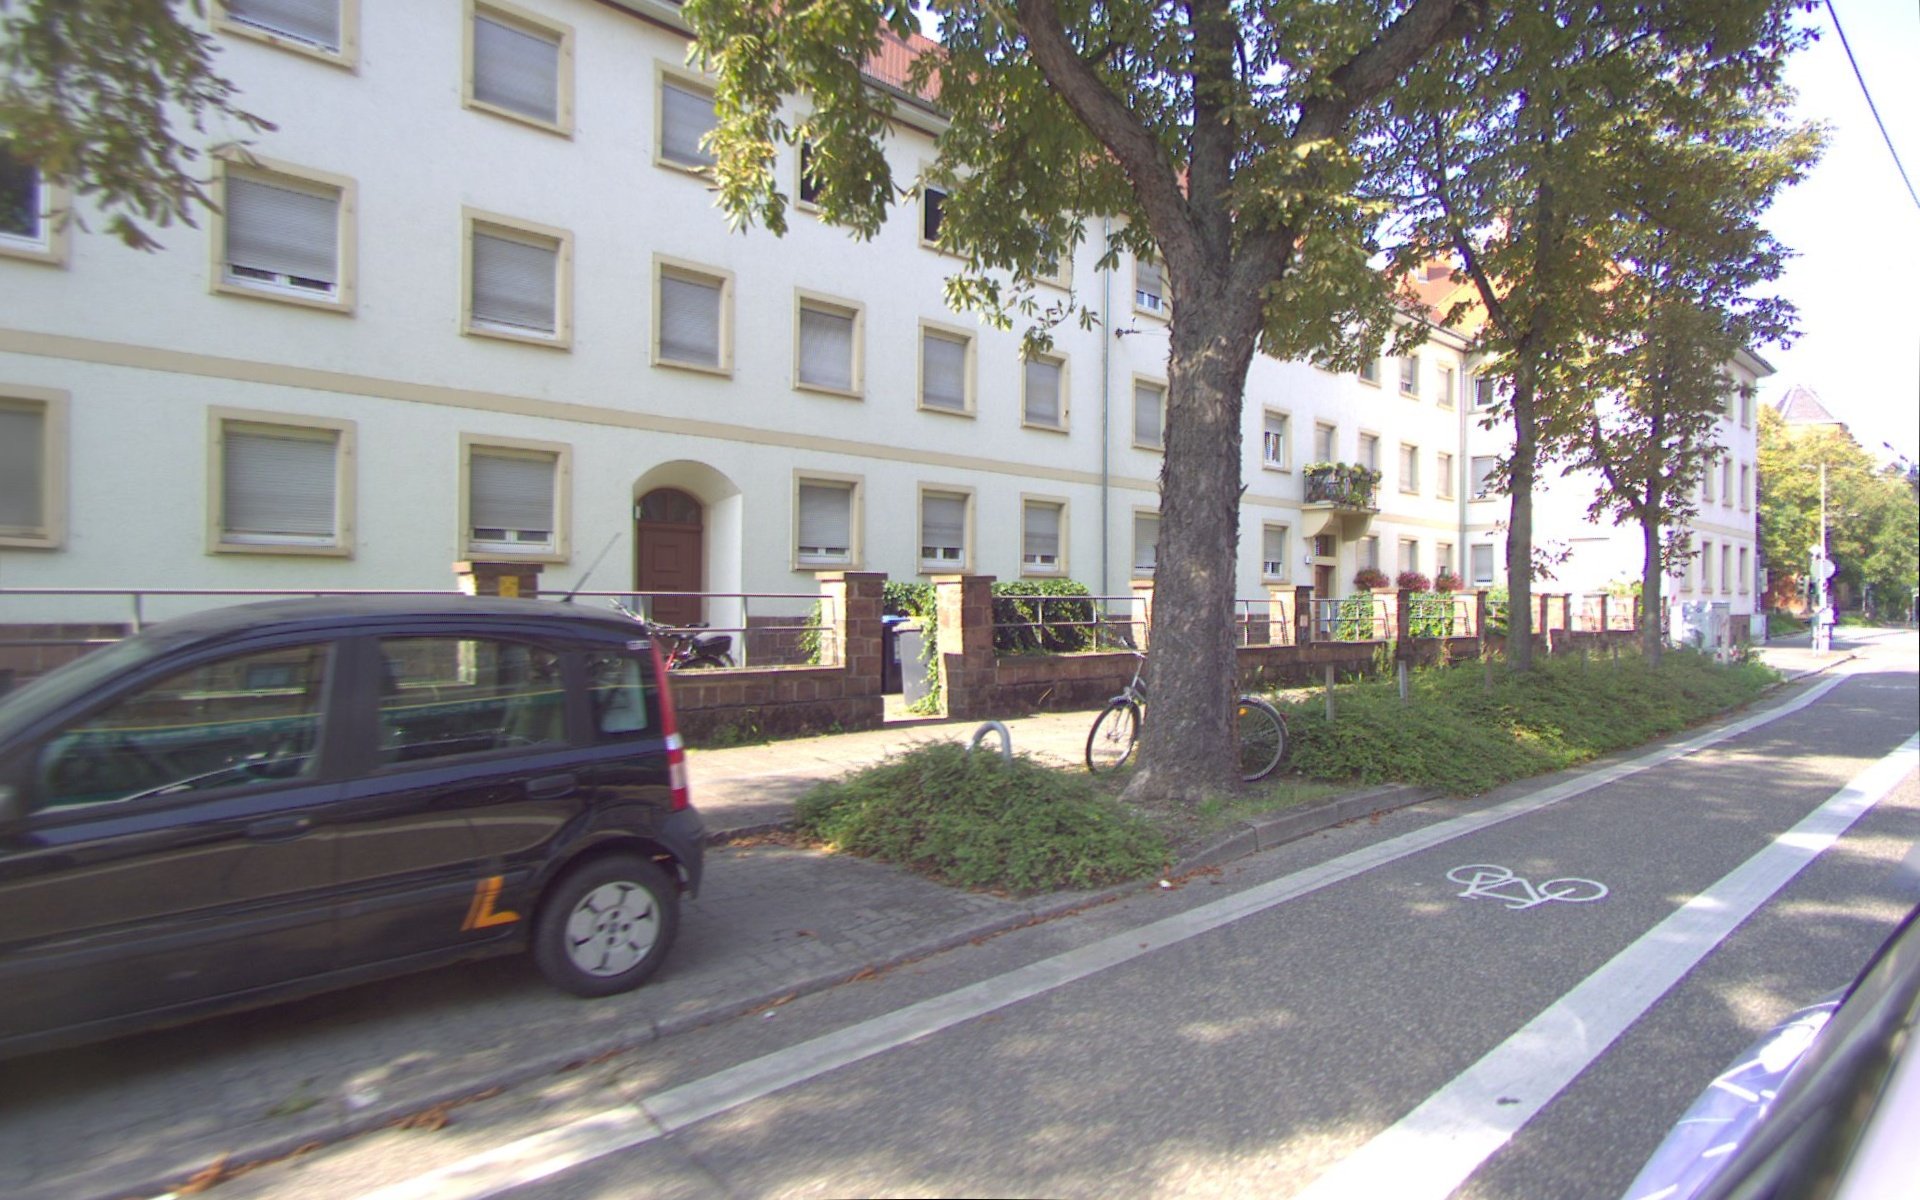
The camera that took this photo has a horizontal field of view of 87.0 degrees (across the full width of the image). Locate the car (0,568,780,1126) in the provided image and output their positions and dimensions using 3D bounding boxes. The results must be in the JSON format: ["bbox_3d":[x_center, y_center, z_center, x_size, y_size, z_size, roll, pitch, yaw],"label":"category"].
[{"bbox_3d":[-2.772,0.683,3.834,3.769,1.559,1.651,0,2,-36],"label":"car"}]

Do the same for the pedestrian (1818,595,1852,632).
[{"bbox_3d":[43.012,0.664,49.739,0.953,1.746,1.079,1,2,-42],"label":"pedestrian"}]

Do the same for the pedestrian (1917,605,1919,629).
[{"bbox_3d":[69.121,1.216,72.565,0.647,1.740,0.545,1,-1,-25],"label":"pedestrian"}]

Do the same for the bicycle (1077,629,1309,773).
[{"bbox_3d":[1.806,0.778,7.985,1.696,1.087,0.525,0,-1,1],"label":"bicycle"}]

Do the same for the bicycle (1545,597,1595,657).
[{"bbox_3d":[15.518,0.669,25.740,1.707,1.474,0.455,0,-1,-37],"label":"bicycle"}]

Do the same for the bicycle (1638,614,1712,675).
[{"bbox_3d":[14.126,0.839,19.965,2.294,1.118,0.772,0,0,-44],"label":"bicycle"}]

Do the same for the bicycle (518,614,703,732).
[{"bbox_3d":[-3.516,0.700,10.272,1.698,1.087,0.524,0,-1,-40],"label":"bicycle"}]

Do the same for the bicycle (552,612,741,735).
[{"bbox_3d":[-3.028,0.672,9.886,1.698,1.087,0.524,0,-1,-40],"label":"bicycle"}]

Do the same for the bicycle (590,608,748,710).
[{"bbox_3d":[-3.336,0.642,11.702,1.698,1.087,0.524,0,-1,-40],"label":"bicycle"}]

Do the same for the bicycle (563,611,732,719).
[{"bbox_3d":[-3.370,0.666,11.010,1.698,1.087,0.524,0,-1,-40],"label":"bicycle"}]
